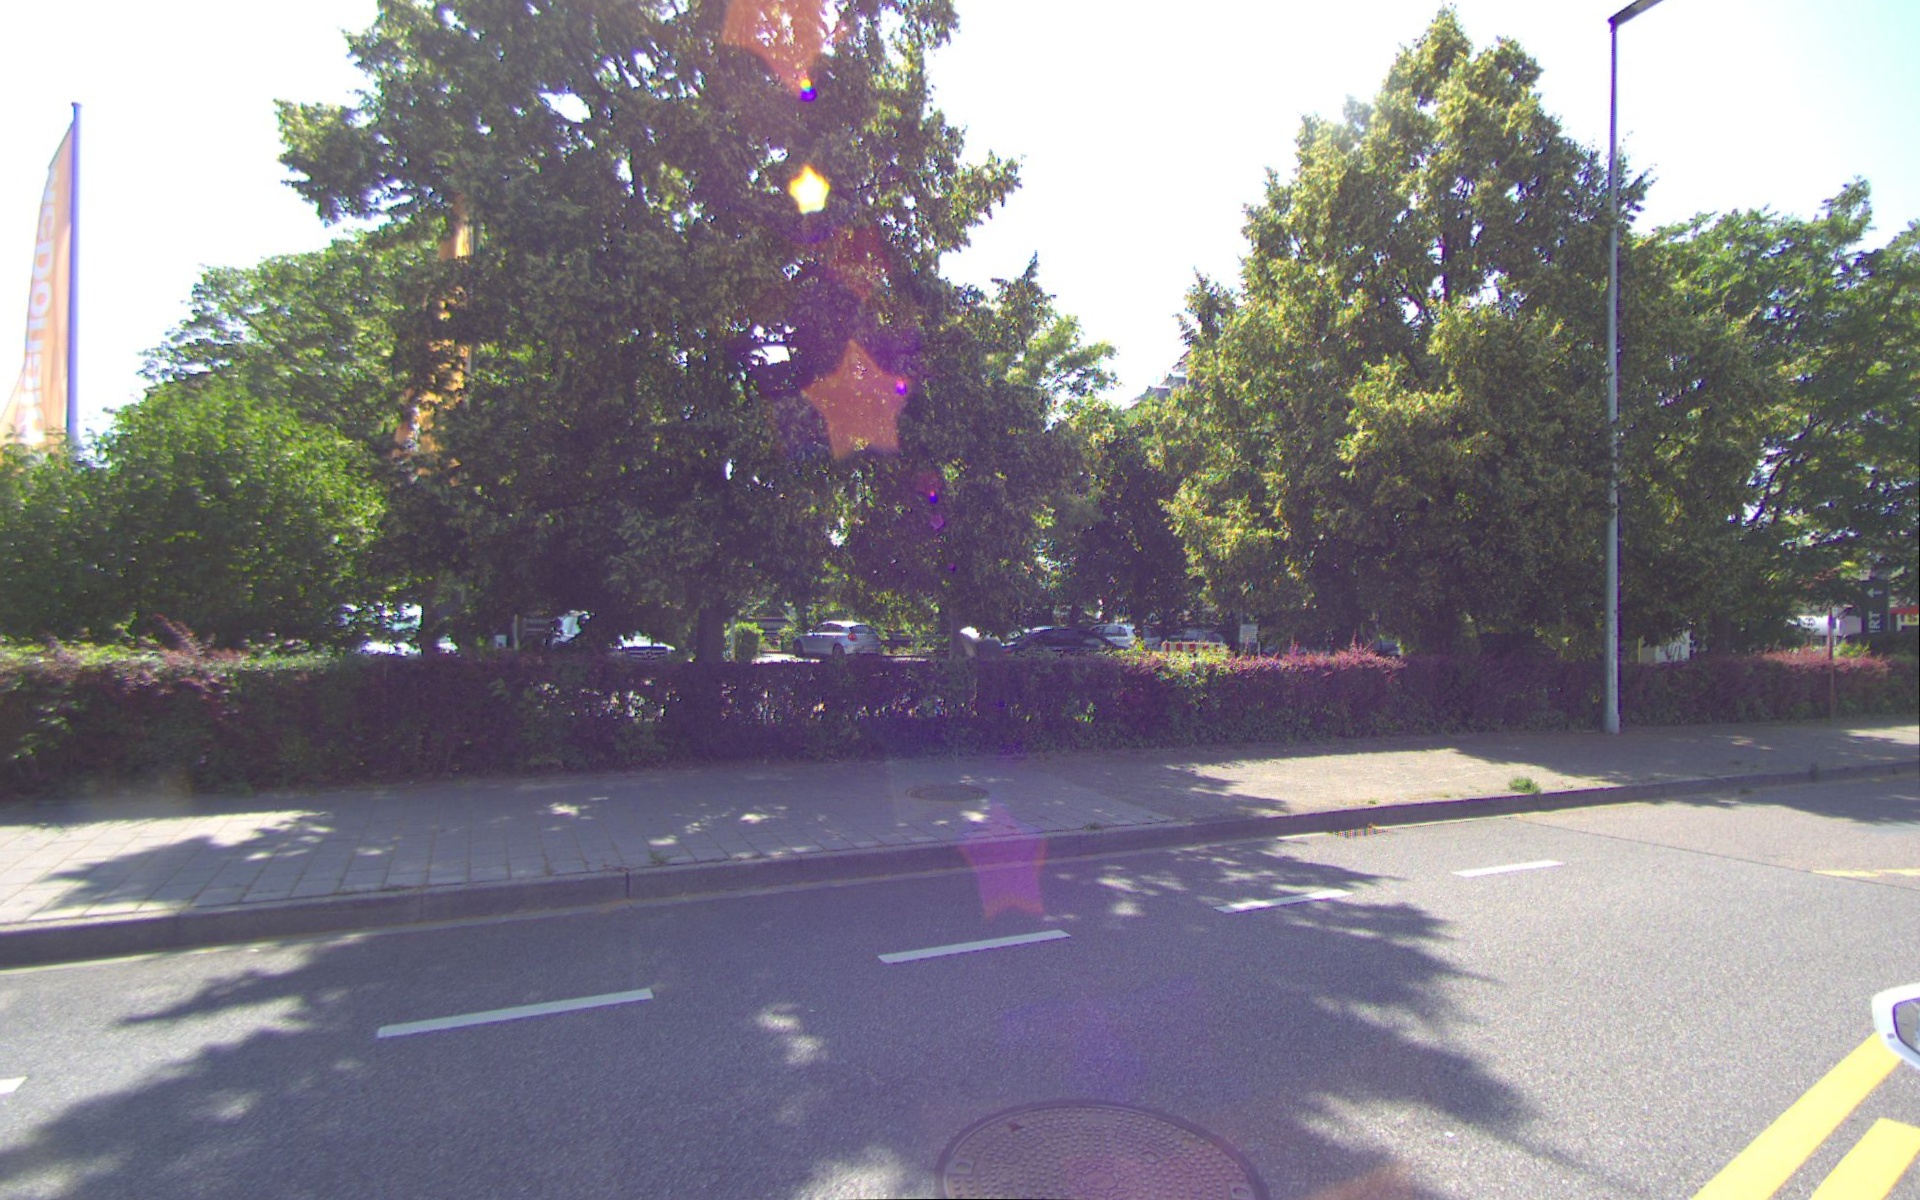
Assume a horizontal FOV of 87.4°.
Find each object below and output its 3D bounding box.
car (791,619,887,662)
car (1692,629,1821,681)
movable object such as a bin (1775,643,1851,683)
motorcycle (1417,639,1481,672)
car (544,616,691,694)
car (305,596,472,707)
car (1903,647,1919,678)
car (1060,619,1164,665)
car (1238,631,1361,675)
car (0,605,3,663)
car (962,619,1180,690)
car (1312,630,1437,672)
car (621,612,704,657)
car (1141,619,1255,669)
[{"bbox_3d":[-4.680,1.509,38.473,1.780,1.469,4.000,2,-1,-40],"label":"car"},{"bbox_3d":[32.599,2.315,41.302,1.854,1.944,4.529,-2,-5,4],"label":"car"},{"bbox_3d":[34.821,2.577,41.032,1.429,1.546,1.774,-2,-3,-9],"label":"movable object such as a bin"},{"bbox_3d":[18.881,2.136,38.831,2.148,1.146,0.568,1,-1,36],"label":"motorcycle"},{"bbox_3d":[-8.051,1.222,23.462,1.892,1.604,3.763,2,-1,-42],"label":"car"},{"bbox_3d":[-10.881,0.888,18.999,1.737,1.852,4.297,1,-1,-44],"label":"car"},{"bbox_3d":[52.682,3.326,53.406,4.617,1.595,1.906,1,-2,-21],"label":"car"},{"bbox_3d":[5.731,1.558,38.205,1.630,1.609,3.804,2,-1,-40],"label":"car"},{"bbox_3d":[12.412,1.897,36.912,1.613,1.414,4.026,2,-1,-39],"label":"car"},{"bbox_3d":[-25.199,0.885,25.005,1.607,1.552,3.573,2,-1,-38],"label":"car"},{"bbox_3d":[2.724,1.326,24.479,4.963,1.581,2.061,2,-2,-26],"label":"car"},{"bbox_3d":[15.583,1.884,37.922,1.755,1.406,4.049,2,-1,-39],"label":"car"},{"bbox_3d":[-11.635,1.318,39.121,1.804,1.597,3.827,2,-1,-38],"label":"car"},{"bbox_3d":[9.020,1.641,38.348,1.786,1.755,3.979,2,-1,-39],"label":"car"}]
